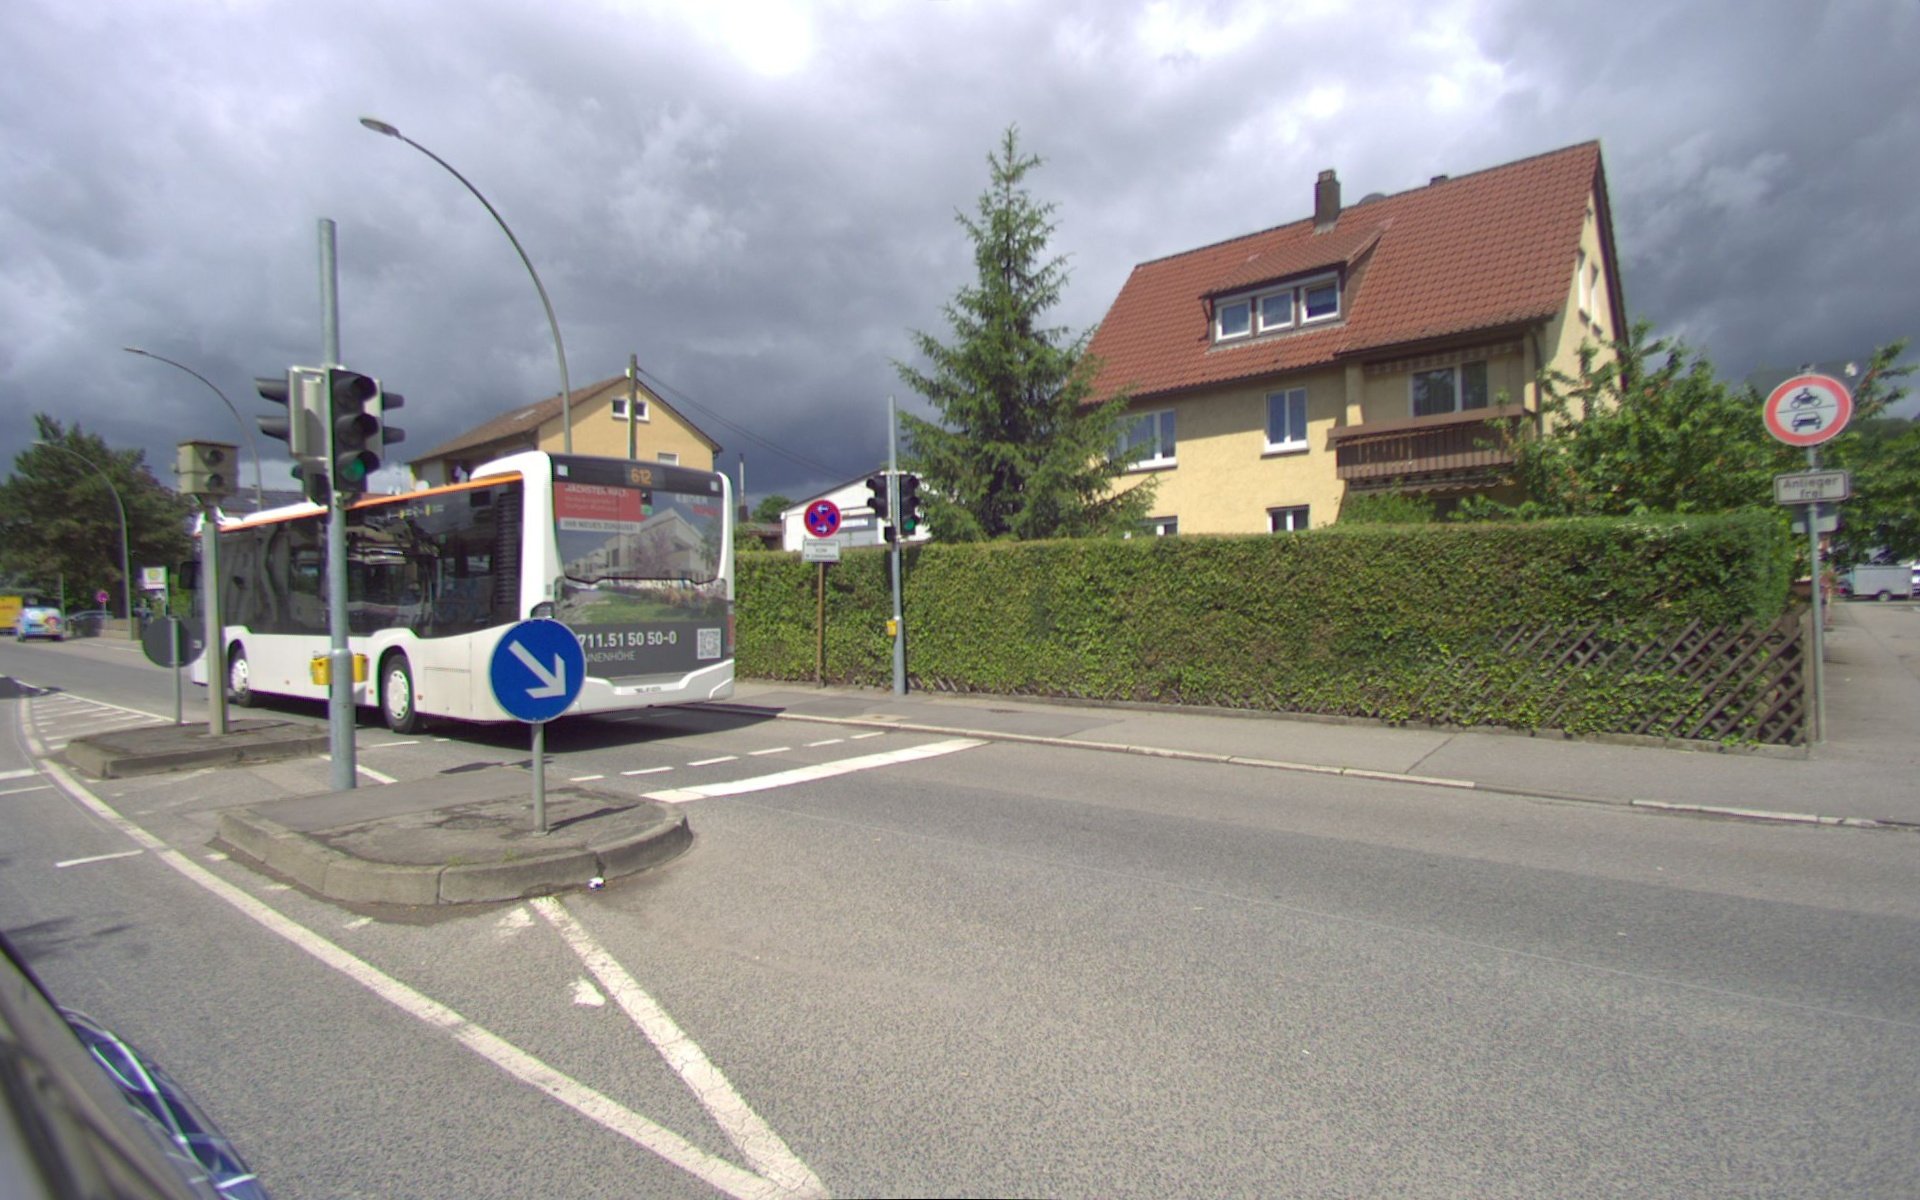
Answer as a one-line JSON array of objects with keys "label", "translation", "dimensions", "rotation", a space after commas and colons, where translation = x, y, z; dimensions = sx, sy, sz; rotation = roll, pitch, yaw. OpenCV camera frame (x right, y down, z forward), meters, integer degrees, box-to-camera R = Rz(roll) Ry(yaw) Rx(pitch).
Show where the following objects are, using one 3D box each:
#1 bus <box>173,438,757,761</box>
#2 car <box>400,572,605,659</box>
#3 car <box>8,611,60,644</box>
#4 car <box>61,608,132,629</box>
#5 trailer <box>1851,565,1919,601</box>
[{"label": "bus", "translation": [-7.925, 0.047, 14.520], "dimensions": [12.253, 3.053, 2.692], "rotation": [-1, 0, 39]}, {"label": "car", "translation": [-13.851, 0.389, 30.894], "dimensions": [5.290, 2.402, 2.105], "rotation": [-2, 1, -45]}, {"label": "car", "translation": [-51.191, 1.499, 55.925], "dimensions": [3.999, 1.693, 1.707], "rotation": [-1, 1, 42]}, {"label": "car", "translation": [-78.713, 1.684, 92.293], "dimensions": [2.218, 1.691, 4.673], "rotation": [-1, 1, 42]}, {"label": "trailer", "translation": [54.954, -0.997, 59.010], "dimensions": [4.414, 2.029, 1.971], "rotation": [-1, 1, 44]}]
